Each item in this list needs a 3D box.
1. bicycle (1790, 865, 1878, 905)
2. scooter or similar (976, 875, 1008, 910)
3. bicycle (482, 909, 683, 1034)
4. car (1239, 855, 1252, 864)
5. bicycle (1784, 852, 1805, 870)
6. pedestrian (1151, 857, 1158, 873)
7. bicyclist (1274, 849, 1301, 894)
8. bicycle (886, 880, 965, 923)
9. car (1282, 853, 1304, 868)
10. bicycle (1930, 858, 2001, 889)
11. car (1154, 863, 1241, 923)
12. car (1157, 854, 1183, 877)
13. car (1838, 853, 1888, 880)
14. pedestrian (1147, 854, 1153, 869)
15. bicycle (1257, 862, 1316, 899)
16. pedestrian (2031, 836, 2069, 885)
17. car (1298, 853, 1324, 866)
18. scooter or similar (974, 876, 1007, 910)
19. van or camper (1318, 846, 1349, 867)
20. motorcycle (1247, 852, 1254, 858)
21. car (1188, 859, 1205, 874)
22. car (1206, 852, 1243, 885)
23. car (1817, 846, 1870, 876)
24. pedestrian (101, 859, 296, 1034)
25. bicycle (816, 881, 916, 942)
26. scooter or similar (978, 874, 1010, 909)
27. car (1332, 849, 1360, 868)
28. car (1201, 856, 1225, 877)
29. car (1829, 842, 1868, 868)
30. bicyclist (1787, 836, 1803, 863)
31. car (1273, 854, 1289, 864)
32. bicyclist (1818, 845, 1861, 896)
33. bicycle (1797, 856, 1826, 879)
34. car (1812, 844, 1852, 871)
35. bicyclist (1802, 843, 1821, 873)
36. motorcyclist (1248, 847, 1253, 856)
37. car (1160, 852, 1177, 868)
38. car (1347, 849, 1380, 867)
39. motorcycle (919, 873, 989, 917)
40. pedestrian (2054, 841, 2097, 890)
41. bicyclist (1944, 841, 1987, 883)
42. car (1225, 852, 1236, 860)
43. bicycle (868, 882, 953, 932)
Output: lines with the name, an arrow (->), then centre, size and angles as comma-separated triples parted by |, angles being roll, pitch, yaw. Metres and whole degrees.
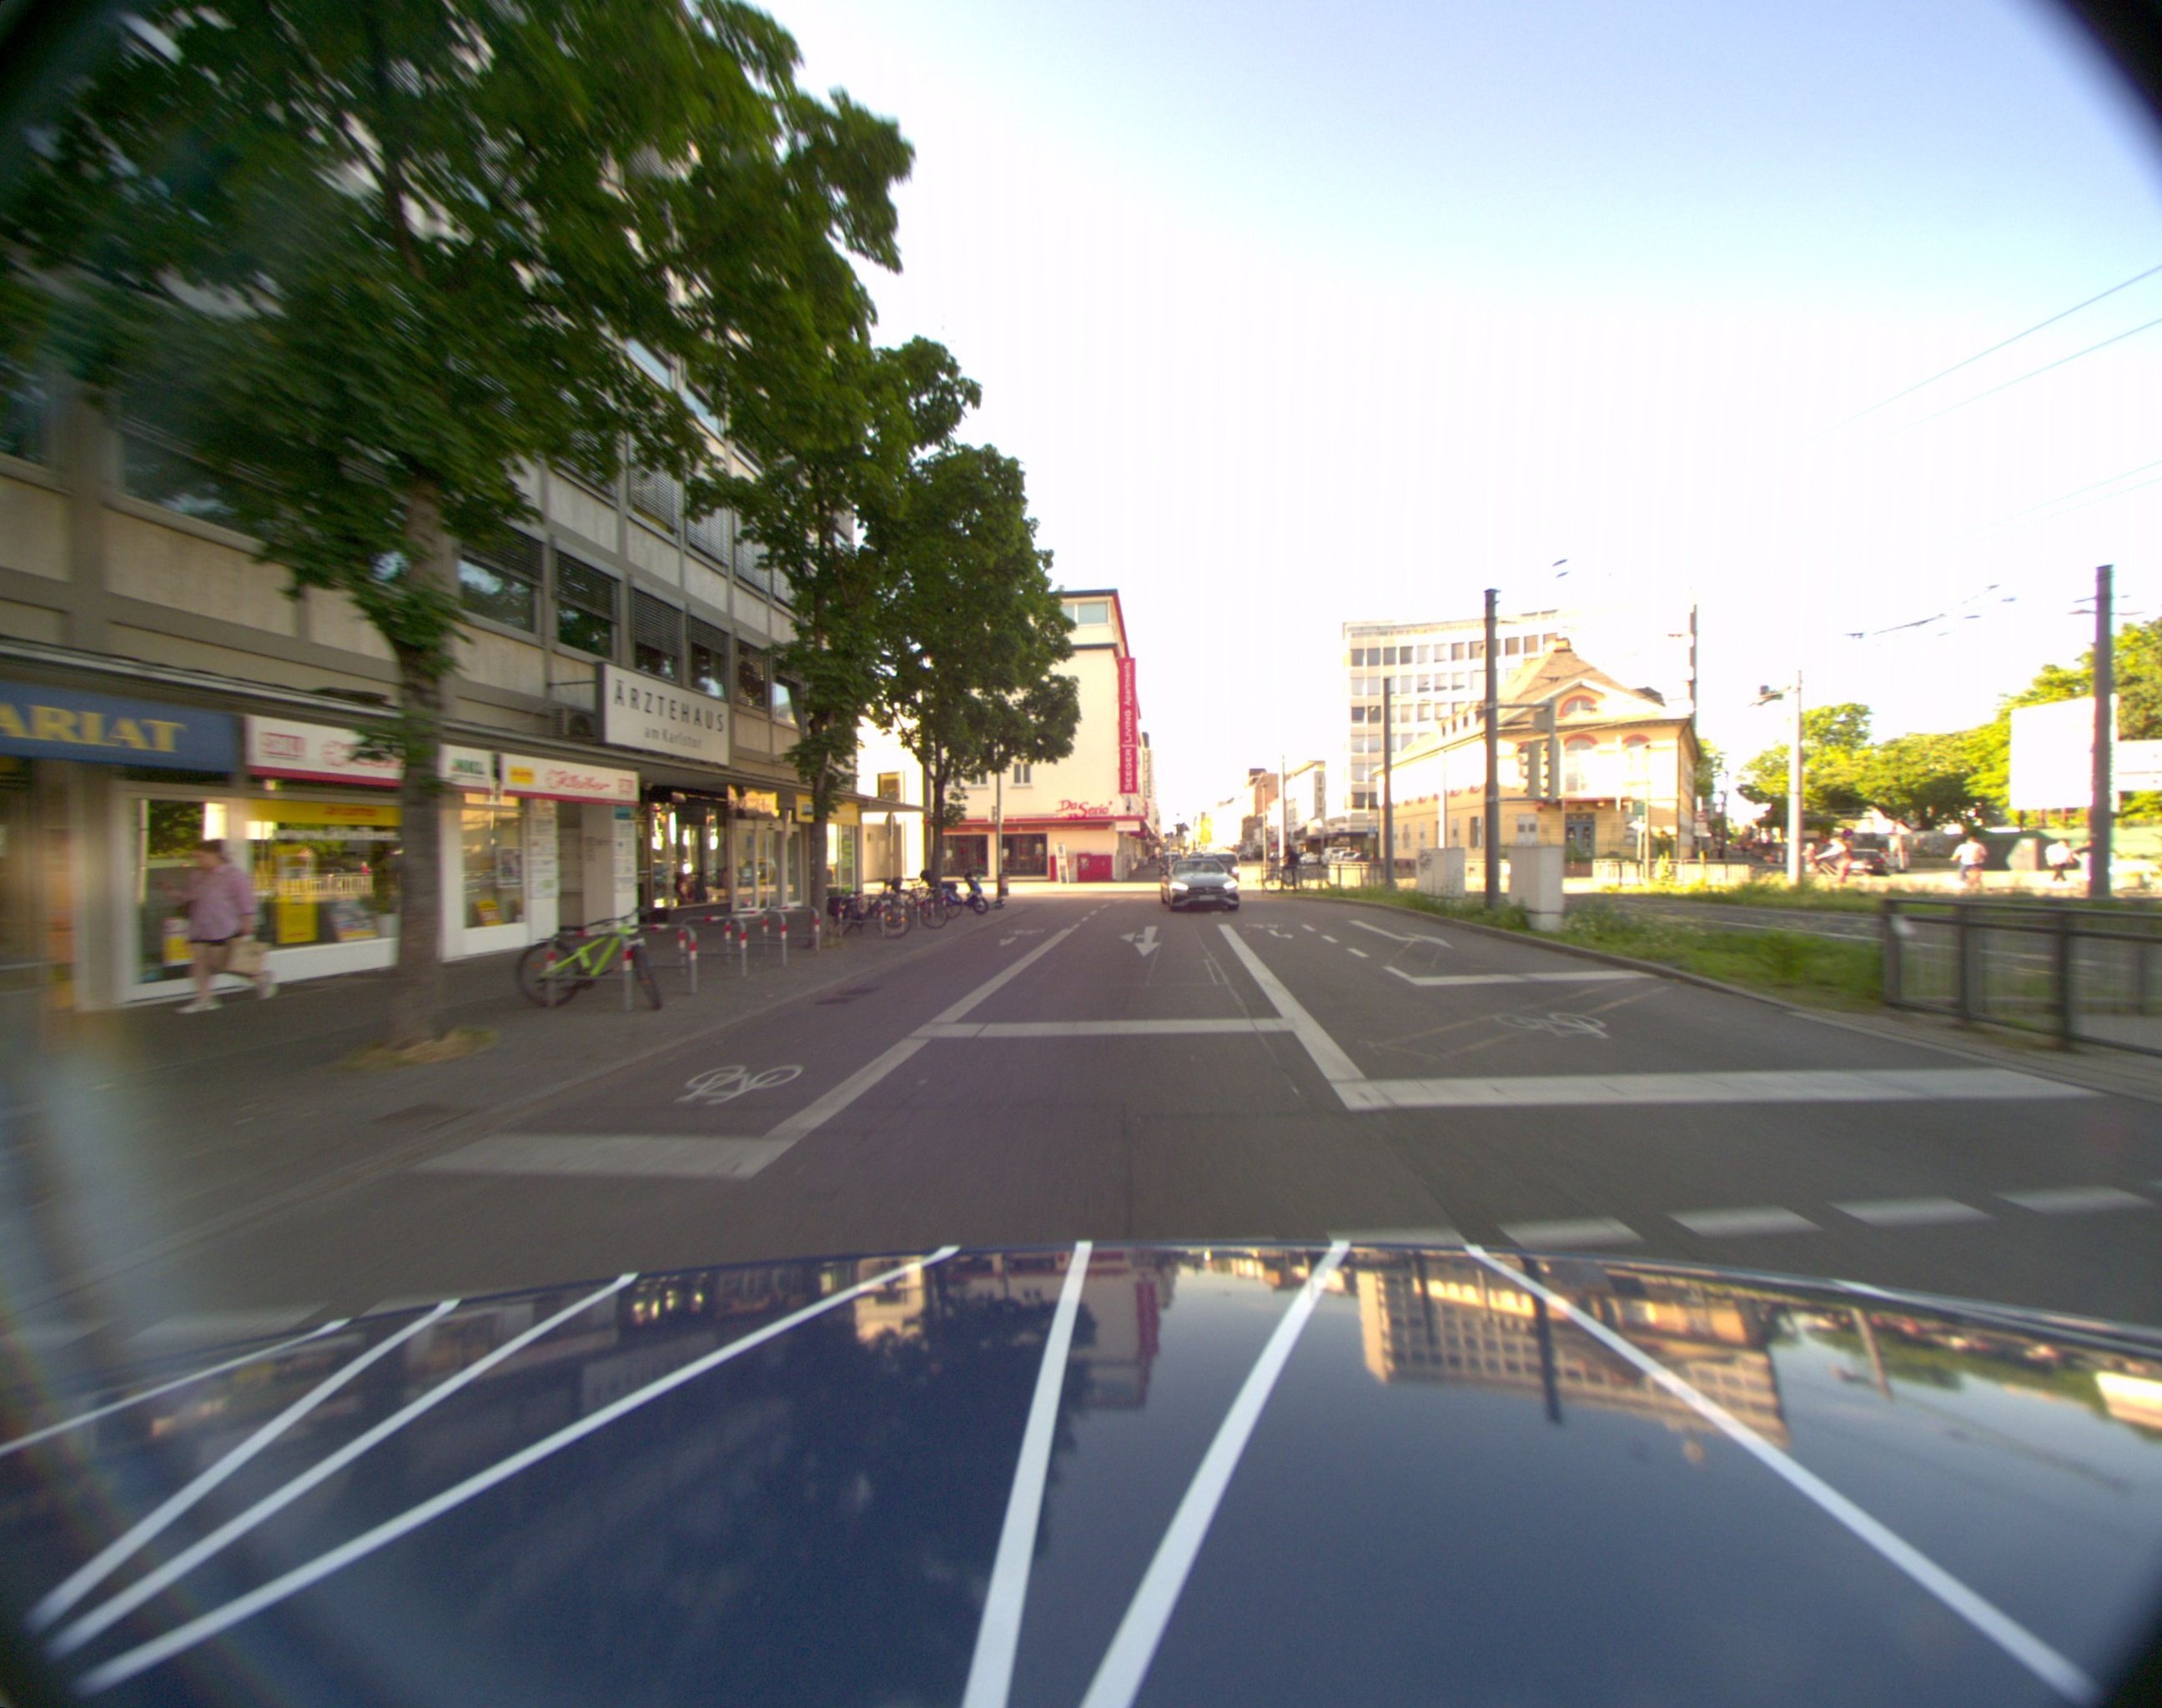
bicycle -> 25.159, 1.010, 25.432 | 0.576, 1.283, 2.023 | -2, 0, -21
scooter or similar -> -2.699, 1.162, 23.000 | 0.958, 1.033, 0.160 | -1, 0, 11
bicycle -> -5.104, 1.172, 7.799 | 1.893, 1.150, 0.481 | 0, 1, 9
car -> 28.707, 0.978, 132.673 | 1.780, 1.500, 4.672 | 0, 0, 7
bicycle -> 43.410, 0.423, 46.233 | 0.530, 1.007, 1.888 | -1, 1, 31
pedestrian -> 8.645, 1.292, 88.984 | 0.738, 1.807, 0.749 | -2, 1, 5
bicyclist -> 7.139, 0.583, 26.239 | 0.683, 1.514, 0.634 | -2, 1, -5
bicycle -> -3.815, 1.165, 18.721 | 1.855, 1.050, 0.399 | 0, 1, -2
car -> 23.643, 0.698, 84.778 | 1.688, 1.551, 4.124 | -2, 0, 7
bicycle -> 31.035, 0.665, 26.698 | 0.650, 1.007, 1.887 | -1, 0, 14
car -> 3.240, 1.029, 22.007 | 1.869, 1.430, 4.774 | -1, 0, 1
car -> 6.447, 0.829, 54.753 | 1.780, 1.560, 3.963 | 0, 1, 7
car -> 42.276, 0.658, 41.154 | 1.646, 1.339, 3.767 | -1, 1, 42
pedestrian -> 8.425, 0.894, 93.011 | 0.705, 1.807, 0.808 | -2, 1, 5
bicycle -> 7.100, 0.899, 26.240 | 1.825, 1.205, 0.641 | -2, 1, -5
pedestrian -> 37.018, 0.245, 29.035 | 0.594, 1.807, 0.705 | -1, 1, 19
car -> 27.345, 0.662, 90.622 | 1.930, 1.444, 4.294 | -3, 0, 3
scooter or similar -> -2.726, 1.165, 22.801 | 0.965, 1.021, 0.160 | -1, 0, 11
van or camper -> 25.687, 0.260, 77.343 | 1.958, 1.961, 4.799 | -3, 0, 6
motorcycle -> 28.166, 0.107, 126.177 | 0.601, 0.921, 2.155 | -2, 0, -3
car -> 12.992, 1.375, 85.532 | 1.736, 1.653, 3.783 | 0, 1, 7
car -> 7.682, 0.750, 40.869 | 1.736, 1.653, 3.963 | 0, 1, 7
car -> 45.651, 0.385, 45.585 | 1.888, 1.660, 3.871 | -1, 1, 40
pedestrian -> -8.607, 0.862, 7.454 | 0.844, 1.593, 0.880 | -2, 1, 8
bicycle -> -4.156, 1.114, 14.719 | 1.813, 1.145, 0.435 | -1, 1, 4
scooter or similar -> -2.660, 1.149, 23.194 | 0.965, 1.037, 0.160 | -1, 0, 11
car -> 24.975, 0.430, 71.712 | 1.780, 1.611, 4.178 | -3, 0, 9
car -> 11.093, 1.058, 64.105 | 1.782, 1.653, 3.963 | 0, 1, 7
car -> 53.117, 0.067, 52.553 | 3.763, 1.660, 1.797 | -2, 1, -44
bicyclist -> 43.335, -0.277, 46.129 | 0.521, 1.663, 0.772 | -1, 1, 31
car -> 29.960, 0.808, 113.933 | 1.785, 1.408, 3.599 | -2, 0, 5
bicyclist -> 25.214, 0.539, 25.267 | 0.591, 1.639, 0.805 | -2, 0, -21
bicycle -> 40.290, 0.715, 41.917 | 0.530, 1.207, 1.888 | -1, 1, 25
car -> 48.954, 0.196, 49.580 | 1.797, 1.660, 3.763 | -1, 1, 43
bicyclist -> 40.284, 0.225, 41.924 | 0.521, 1.663, 0.771 | -1, 1, 24
motorcyclist -> 28.147, -0.423, 126.278 | 0.654, 1.549, 0.884 | -2, 1, -3
car -> 9.601, 0.659, 82.849 | 1.782, 1.653, 4.165 | 0, 1, 7
car -> 24.489, 0.285, 65.878 | 1.780, 1.430, 3.963 | -3, 0, 7
motorcycle -> -3.467, 1.118, 20.755 | 1.790, 1.123, 0.504 | -2, 1, 9
pedestrian -> 37.879, 0.431, 28.953 | 0.705, 1.840, 0.741 | -1, 1, 19
bicyclist -> 30.969, 0.285, 26.618 | 0.664, 1.445, 0.731 | -1, 1, 14
car -> 30.282, 0.402, 153.676 | 1.780, 1.500, 3.862 | 0, 0, 6
bicycle -> -3.752, 1.176, 16.723 | 1.769, 1.051, 0.458 | -2, 1, 14
